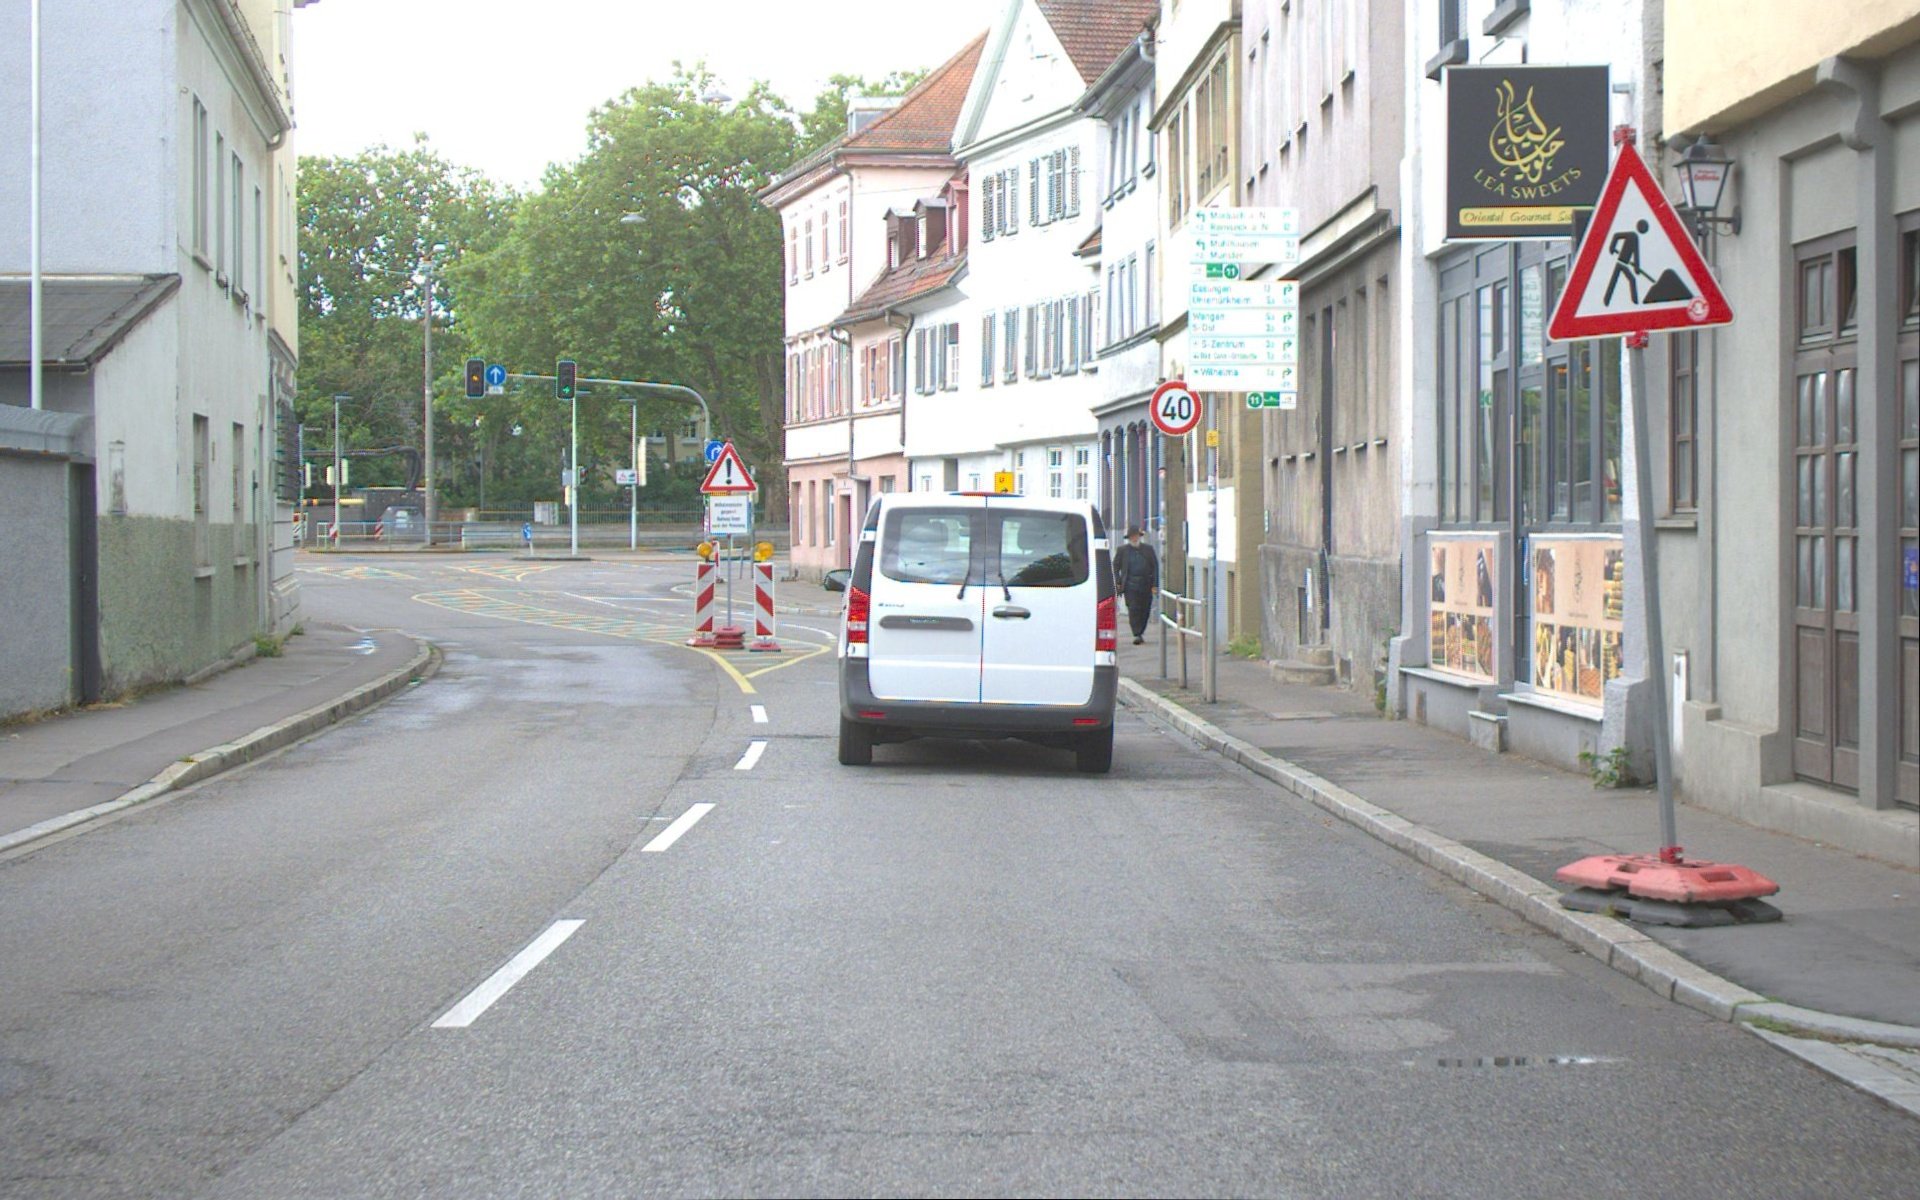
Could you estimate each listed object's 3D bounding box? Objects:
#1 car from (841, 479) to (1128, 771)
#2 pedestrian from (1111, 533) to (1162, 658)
[{"bbox_3d":[0.096,0.129,24.487,1.872,1.905,4.000,0,1,-2],"label":"car"},{"bbox_3d":[2.487,-0.067,48.469,0.643,1.741,0.562,1,0,-4],"label":"pedestrian"}]
